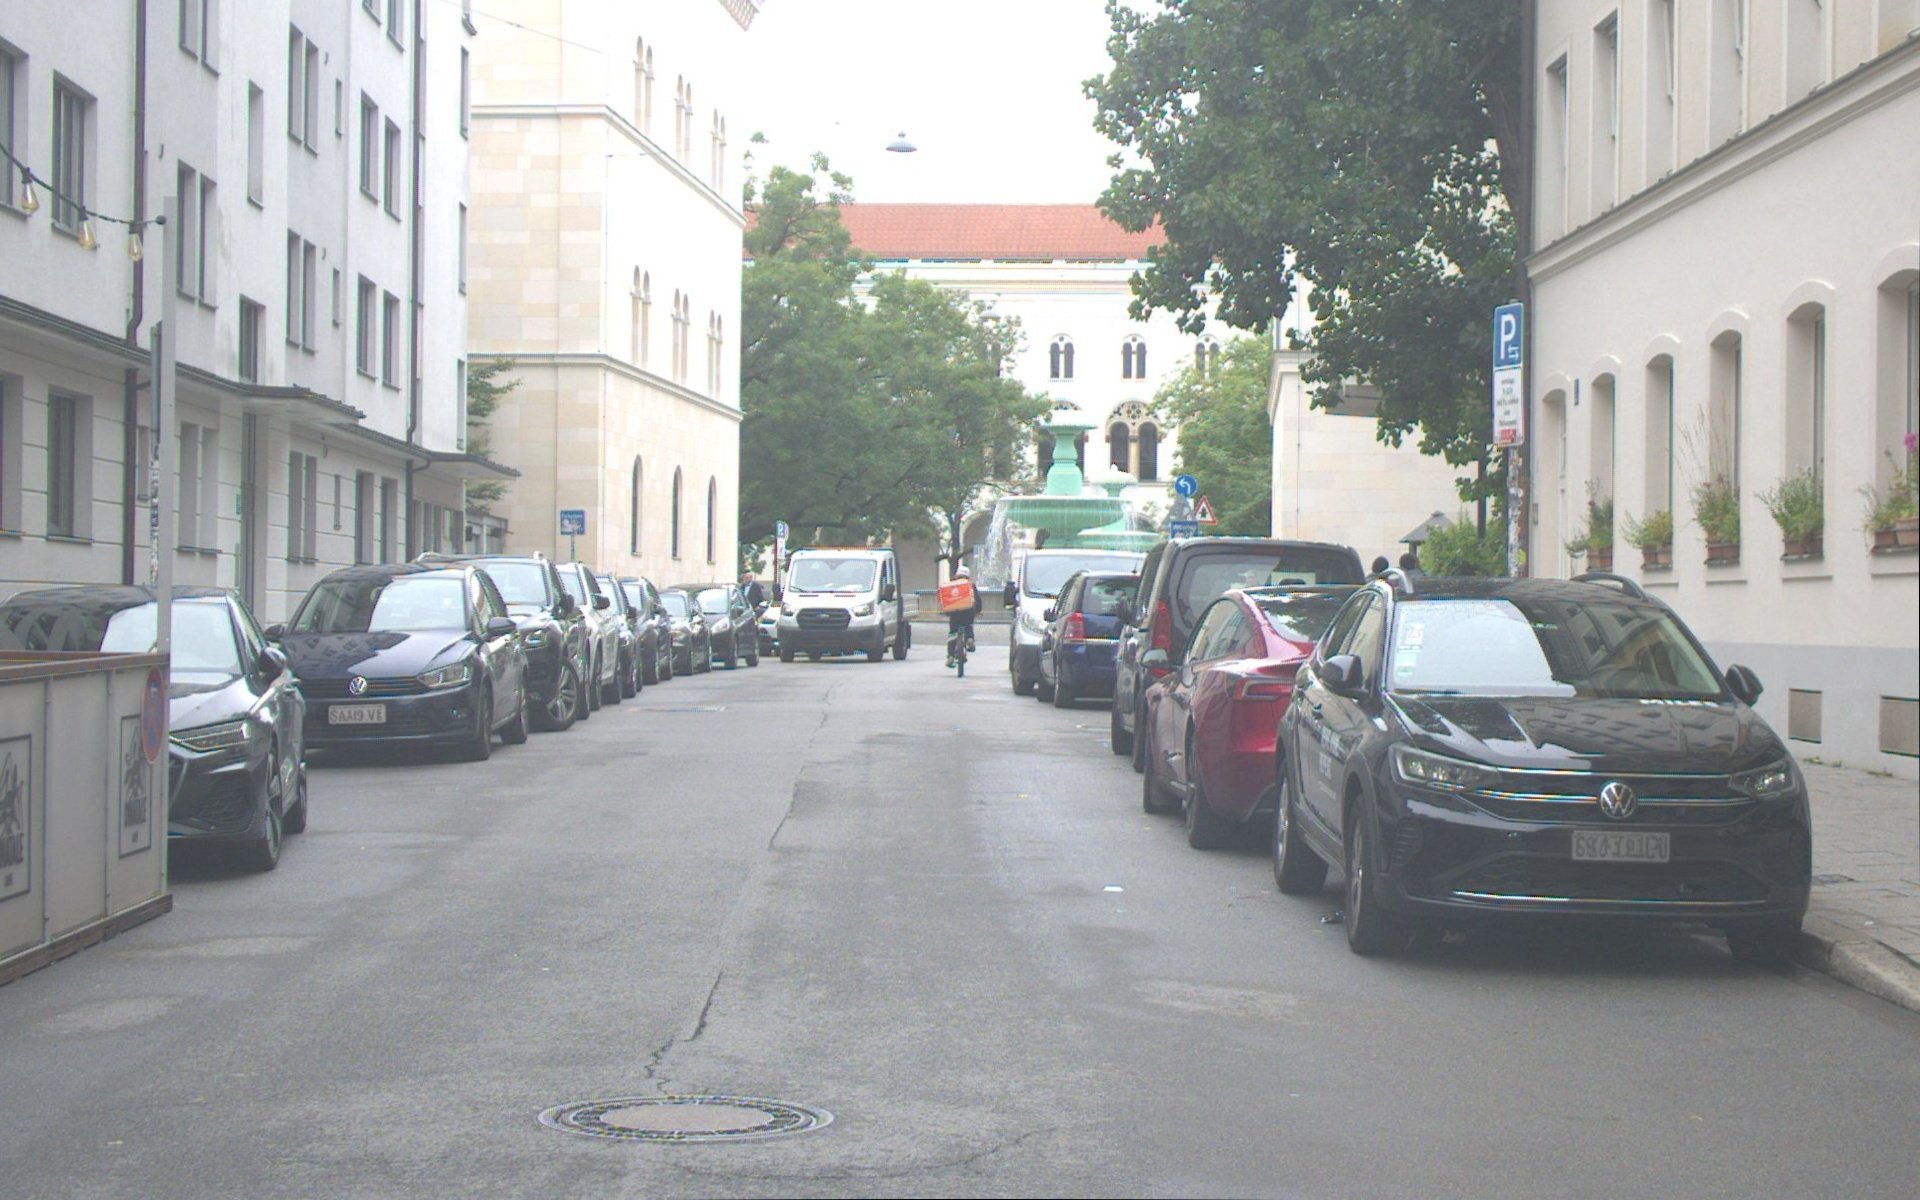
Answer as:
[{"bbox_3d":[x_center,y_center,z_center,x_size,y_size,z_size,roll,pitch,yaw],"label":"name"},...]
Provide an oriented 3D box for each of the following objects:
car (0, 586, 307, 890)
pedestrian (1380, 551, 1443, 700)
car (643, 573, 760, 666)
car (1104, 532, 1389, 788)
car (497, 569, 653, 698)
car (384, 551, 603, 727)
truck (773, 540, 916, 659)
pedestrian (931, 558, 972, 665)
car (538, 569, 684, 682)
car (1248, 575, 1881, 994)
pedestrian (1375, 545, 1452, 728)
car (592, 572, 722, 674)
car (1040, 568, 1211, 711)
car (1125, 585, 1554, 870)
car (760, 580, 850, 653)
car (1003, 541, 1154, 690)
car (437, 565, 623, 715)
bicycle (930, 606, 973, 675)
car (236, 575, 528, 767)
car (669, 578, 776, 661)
[{"bbox_3d":[-4.435,0.638,18.122,1.761,1.406,4.156,0,0,-8],"label":"car"},{"bbox_3d":[6.134,0.351,46.753,0.669,1.974,0.708,-3,-1,0],"label":"pedestrian"},{"bbox_3d":[-4.603,0.334,61.593,1.706,1.604,3.863,0,0,1],"label":"car"},{"bbox_3d":[2.158,0.426,26.970,1.812,1.791,4.247,2,0,0],"label":"car"},{"bbox_3d":[-4.978,0.410,44.844,1.706,1.604,3.863,0,0,-2],"label":"car"},{"bbox_3d":[-4.495,0.348,33.597,1.706,1.604,3.863,0,0,-2],"label":"car"},{"bbox_3d":[-2.236,0.017,68.459,2.121,2.240,6.184,0,-1,5],"label":"truck"},{"bbox_3d":[-0.135,0.189,55.053,0.642,1.708,0.843,0,-1,0],"label":"pedestrian"},{"bbox_3d":[-5.124,0.356,50.902,1.706,1.604,3.863,0,0,1],"label":"car"},{"bbox_3d":[2.361,0.661,14.535,1.811,1.460,4.247,2,0,-1],"label":"car"},{"bbox_3d":[5.008,0.408,37.991,0.669,1.974,0.708,-3,-1,0],"label":"pedestrian"},{"bbox_3d":[-4.940,0.357,56.460,1.706,1.604,3.863,0,0,1],"label":"car"},{"bbox_3d":[1.917,0.442,40.939,1.812,1.609,4.156,0,0,0],"label":"car"},{"bbox_3d":[2.071,0.654,19.944,1.811,1.420,4.247,2,0,-2],"label":"car"},{"bbox_3d":[-3.404,0.347,76.121,1.706,1.576,3.863,0,0,2],"label":"car"},{"bbox_3d":[1.562,0.193,46.901,1.852,1.913,4.769,0,0,0],"label":"car"},{"bbox_3d":[-4.813,0.420,38.893,1.706,1.604,3.863,0,0,-2],"label":"car"},{"bbox_3d":[-0.139,0.647,54.986,0.675,1.091,1.760,0,-1,0],"label":"bicycle"},{"bbox_3d":[-4.599,0.525,27.857,1.817,1.439,3.818,0,0,-2],"label":"car"},{"bbox_3d":[-4.640,0.355,67.535,1.706,1.576,3.863,0,0,2],"label":"car"}]
